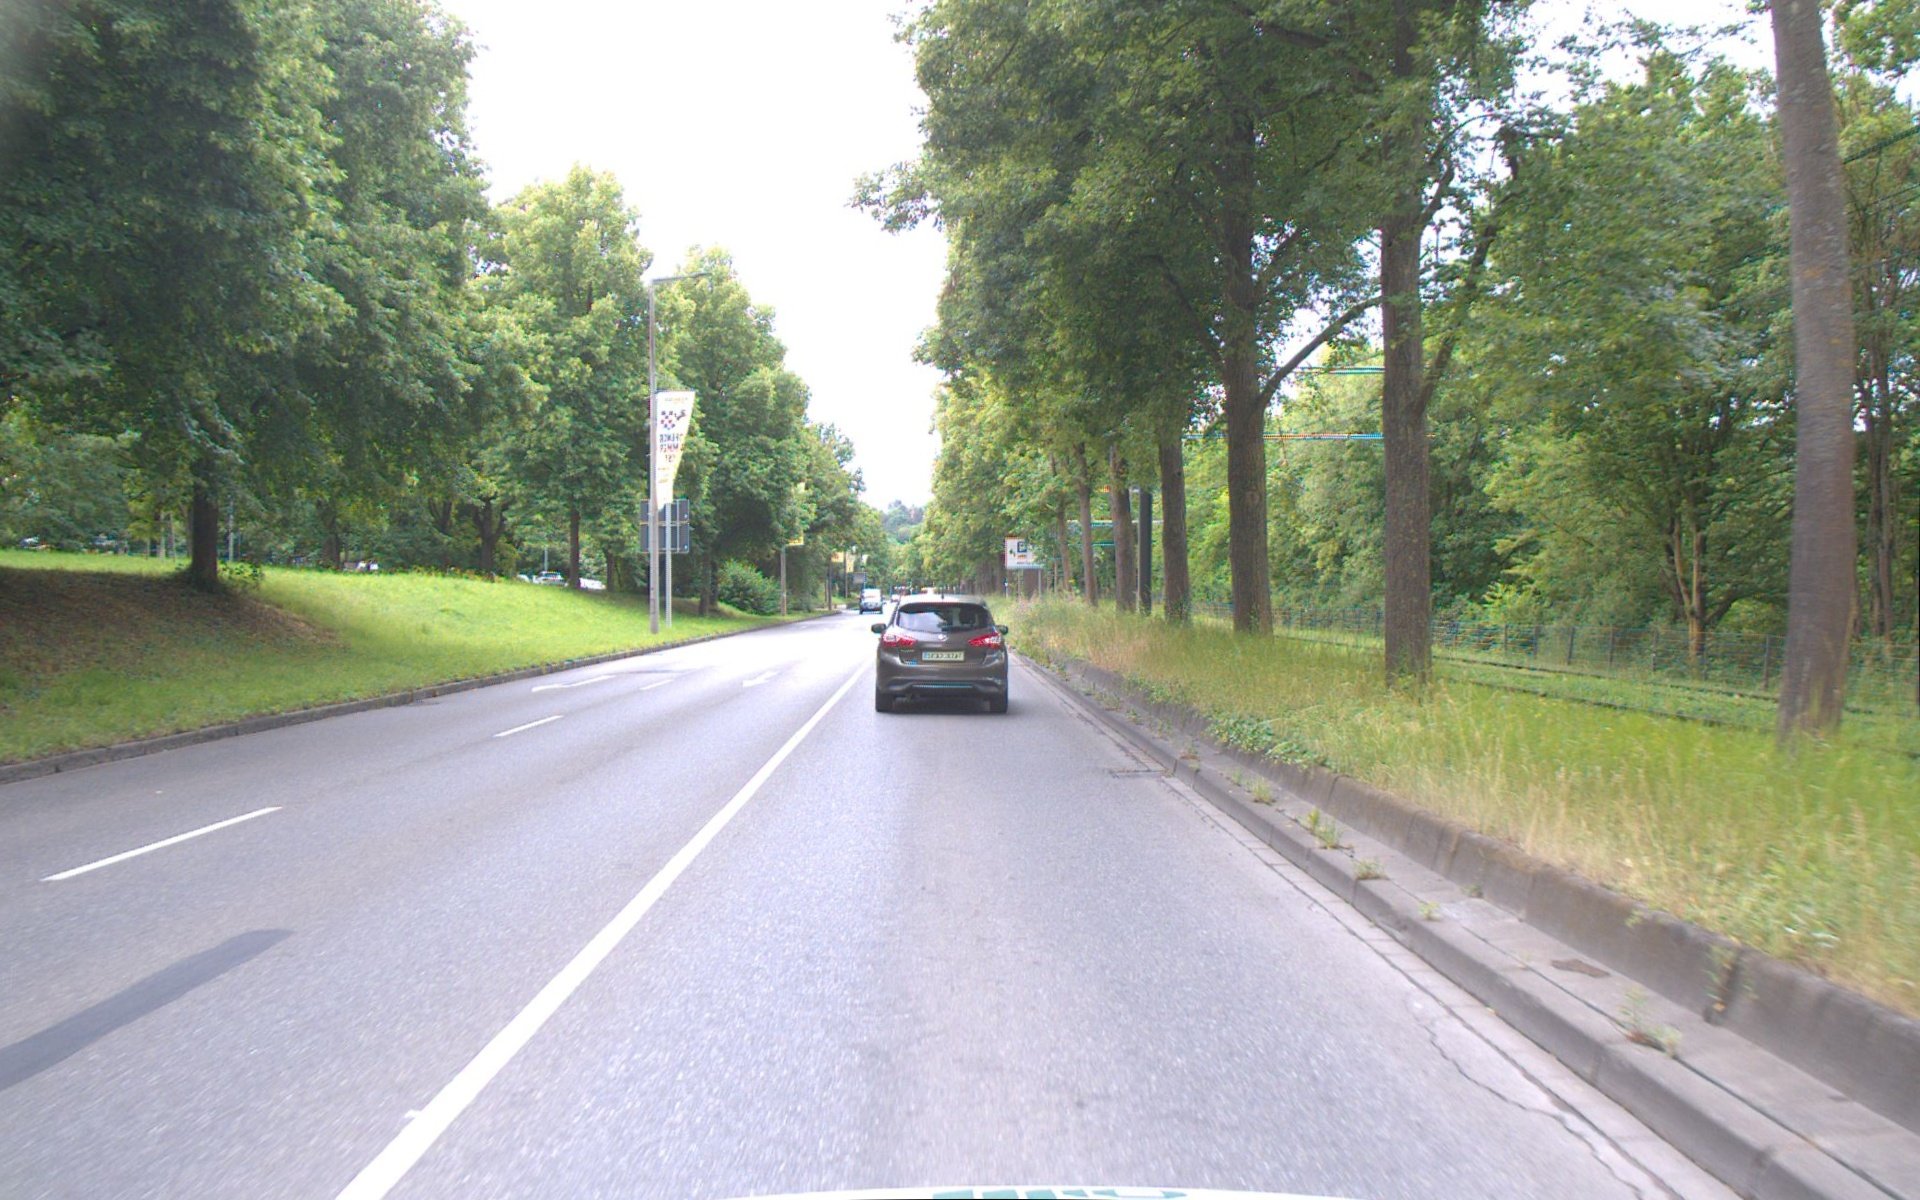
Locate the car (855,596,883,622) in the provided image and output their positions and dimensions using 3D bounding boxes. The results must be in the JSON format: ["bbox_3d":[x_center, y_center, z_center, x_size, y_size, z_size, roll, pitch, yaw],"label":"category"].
[{"bbox_3d":[-7.203,0.697,131.163,1.953,1.990,5.183,0,0,0],"label":"car"}]

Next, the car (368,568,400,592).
[{"bbox_3d":[-38.366,-1.314,110.093,1.625,1.512,3.969,1,0,-24],"label":"car"}]

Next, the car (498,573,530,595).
[{"bbox_3d":[-32.664,-1.178,121.059,1.625,1.512,3.969,1,0,-24],"label":"car"}]

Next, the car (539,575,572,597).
[{"bbox_3d":[-29.798,-1.031,121.804,1.625,1.512,3.969,1,0,-24],"label":"car"}]

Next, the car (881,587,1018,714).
[{"bbox_3d":[-0.183,0.645,22.543,1.695,1.564,3.550,1,0,-2],"label":"car"}]

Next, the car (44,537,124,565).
[{"bbox_3d":[-43.809,-2.437,82.738,3.459,1.231,1.386,1,0,-29],"label":"car"}]
